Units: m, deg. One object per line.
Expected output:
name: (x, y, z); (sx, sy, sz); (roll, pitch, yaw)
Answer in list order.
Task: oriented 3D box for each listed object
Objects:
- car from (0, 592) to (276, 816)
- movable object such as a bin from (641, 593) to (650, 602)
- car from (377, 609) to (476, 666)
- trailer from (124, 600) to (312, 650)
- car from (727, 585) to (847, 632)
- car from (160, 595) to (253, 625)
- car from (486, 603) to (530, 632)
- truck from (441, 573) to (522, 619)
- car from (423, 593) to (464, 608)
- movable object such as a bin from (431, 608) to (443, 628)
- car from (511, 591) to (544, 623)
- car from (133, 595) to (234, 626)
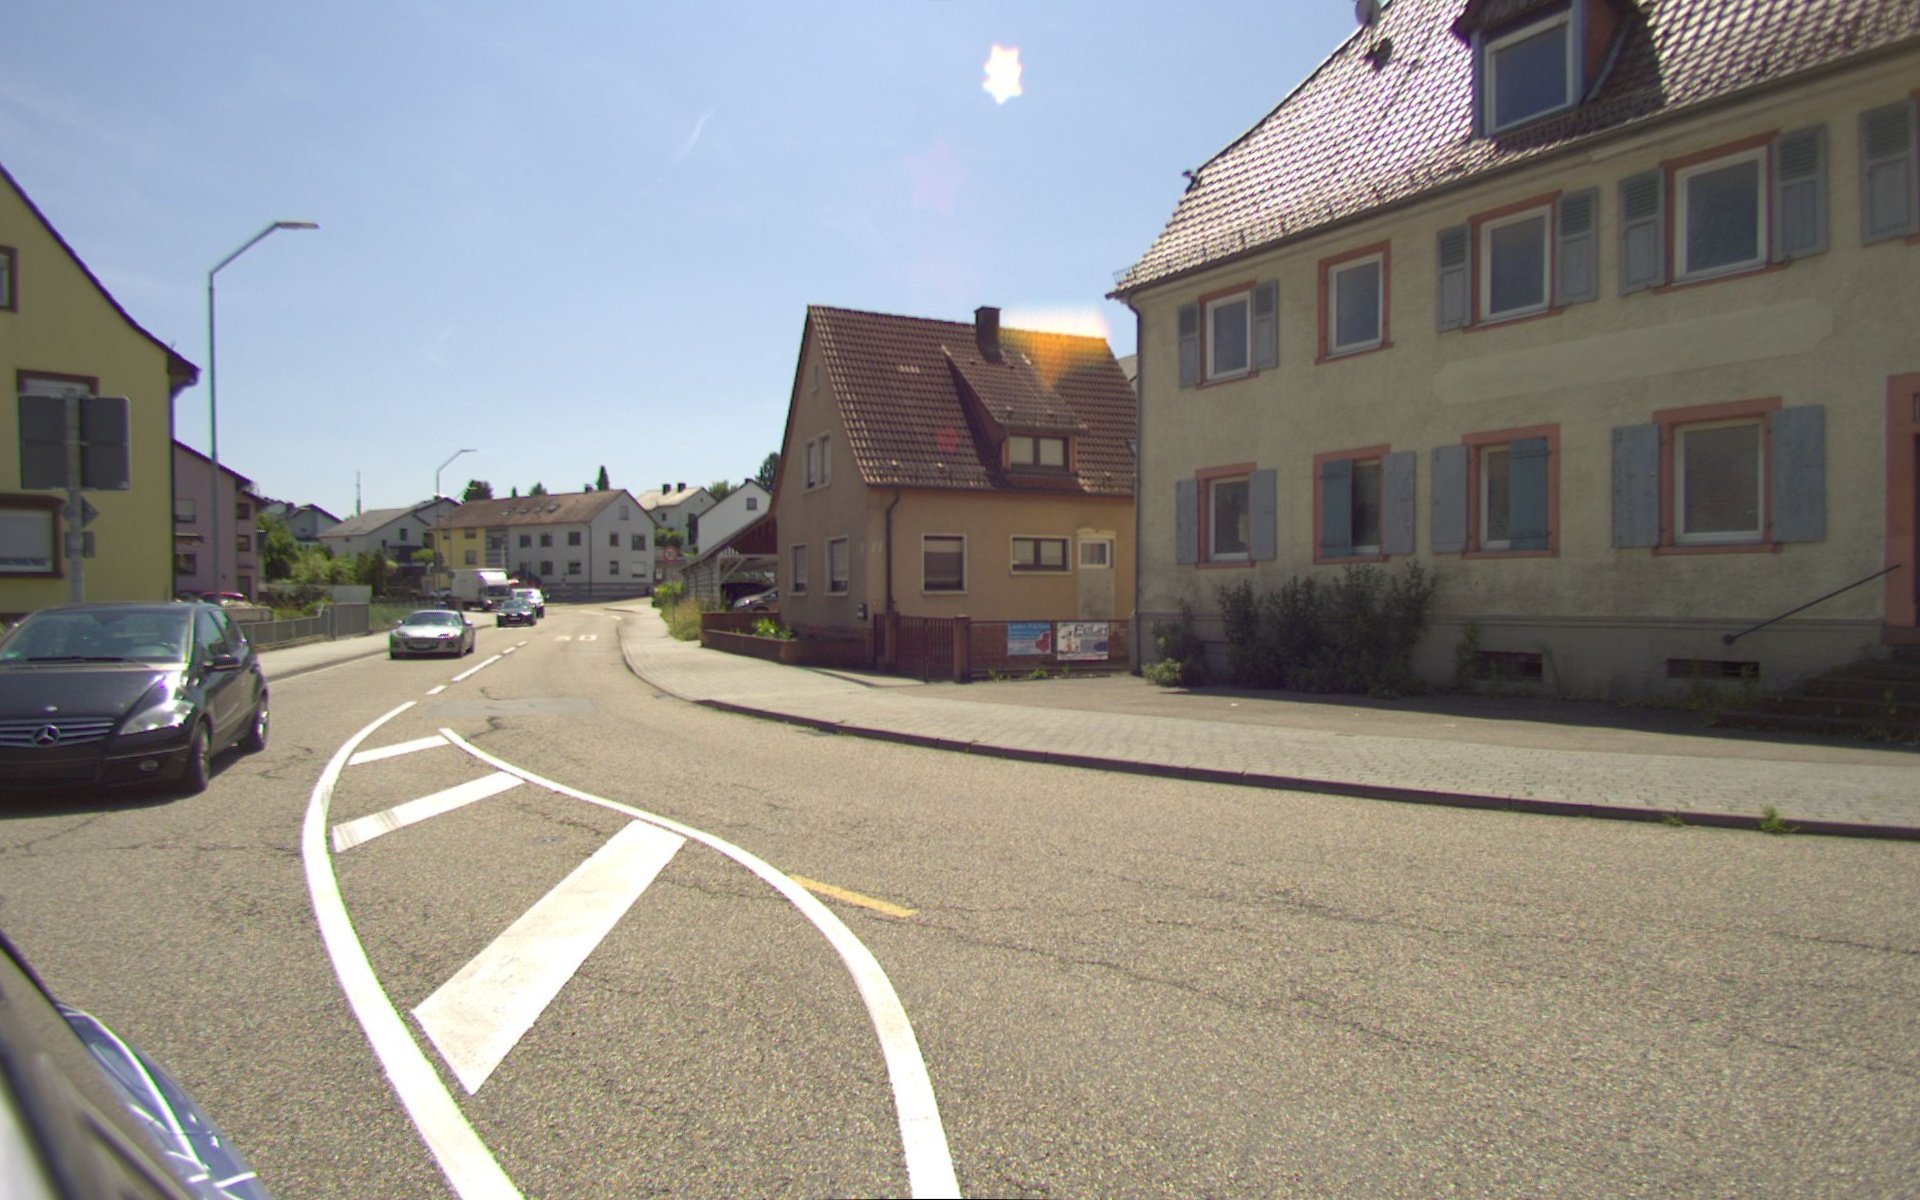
car: (-7.694, 0.764, 9.335); (1.735, 1.604, 4.212); (-1, 0, -26)
movable object such as a bin: (-31.444, -0.236, 101.254); (0.597, 0.941, 0.595); (0, 0, 25)
car: (-14.417, 0.955, 27.550); (1.783, 1.324, 4.013); (-1, 1, -19)
trailer: (-27.230, 0.855, 37.297); (2.138, 1.557, 5.289); (0, 1, 42)
car: (-6.263, 0.297, 36.555); (4.067, 1.650, 1.871); (0, 0, -17)
car: (-39.374, 0.536, 52.930); (3.778, 1.497, 1.764); (1, 0, -42)
car: (-23.689, 0.876, 53.144); (1.865, 1.386, 4.013); (-2, 1, -20)
truck: (-39.810, -0.312, 84.063); (8.307, 3.626, 3.160); (-1, 1, 43)
car: (-53.373, 0.048, 104.637); (4.169, 1.563, 1.720); (0, 1, 28)
movable object such as a bin: (-29.066, 1.003, 56.237); (0.557, 1.065, 0.653); (0, 1, -34)
car: (-28.965, 0.421, 67.654); (1.837, 1.922, 5.054); (-4, 2, -24)
car: (-41.600, 0.523, 54.291); (1.851, 1.559, 4.066); (0, 1, 44)
